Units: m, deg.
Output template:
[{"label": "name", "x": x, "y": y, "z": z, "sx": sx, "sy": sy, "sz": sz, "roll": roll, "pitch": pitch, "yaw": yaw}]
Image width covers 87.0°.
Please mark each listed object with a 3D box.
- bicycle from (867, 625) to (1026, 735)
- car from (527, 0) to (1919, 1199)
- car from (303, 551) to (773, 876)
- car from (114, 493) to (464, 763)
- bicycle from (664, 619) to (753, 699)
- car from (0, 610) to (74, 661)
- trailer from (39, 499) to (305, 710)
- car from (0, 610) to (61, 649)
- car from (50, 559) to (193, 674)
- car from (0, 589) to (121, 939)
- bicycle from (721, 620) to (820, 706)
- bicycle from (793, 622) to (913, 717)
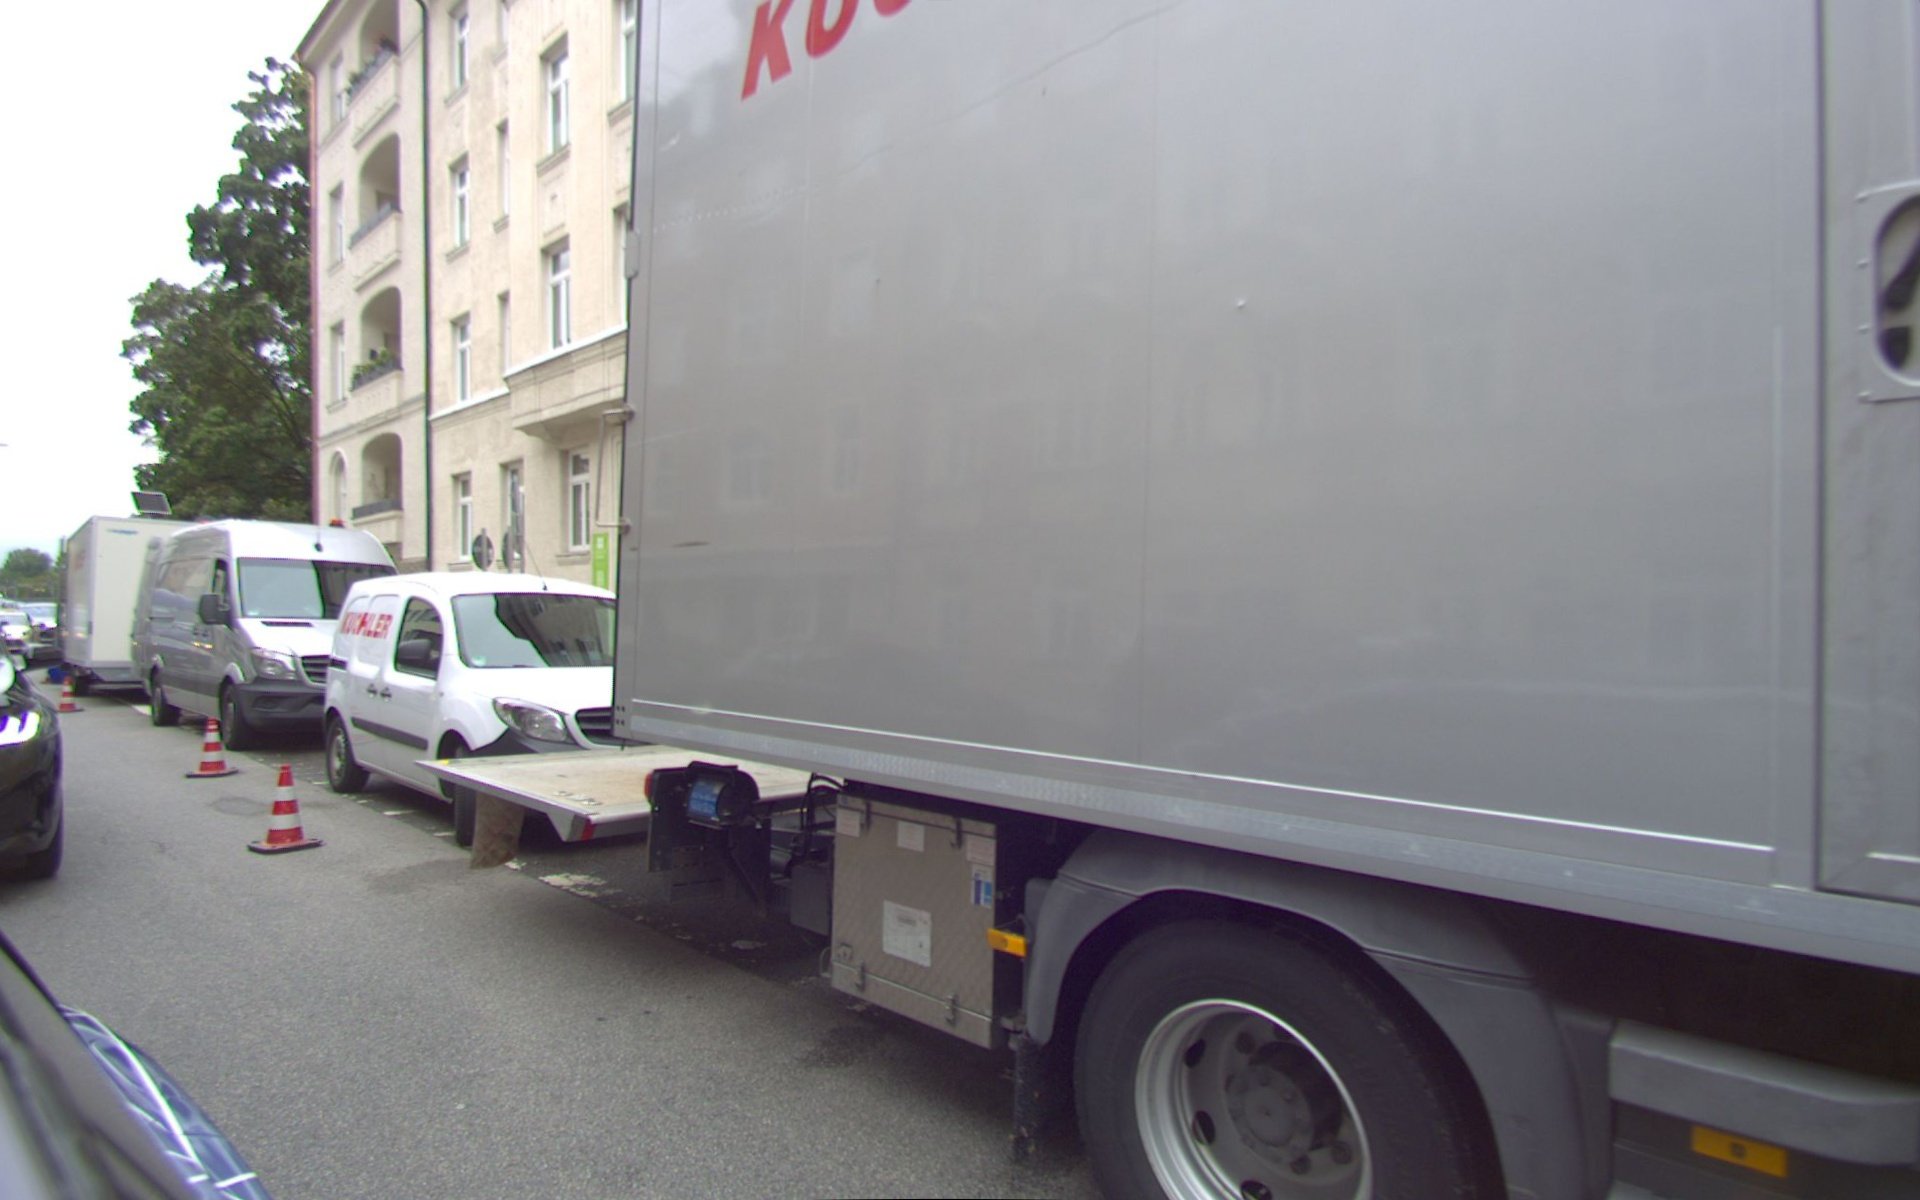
[{"label": "bicycle", "x": -0.177, "y": 0.847, "z": 11.181, "sx": 1.859, "sy": 1.112, "sz": 0.397, "roll": 0, "pitch": 0, "yaw": 34}, {"label": "car", "x": 2.486, "y": -0.518, "z": 1.856, "sx": 8.723, "sy": 3.846, "sz": 2.782, "roll": -1, "pitch": -1, "yaw": 43}, {"label": "car", "x": -3.425, "y": 0.670, "z": 7.734, "sx": 4.328, "sy": 1.792, "sz": 1.743, "roll": -1, "pitch": -2, "yaw": 44}, {"label": "car", "x": -8.795, "y": 0.375, "z": 12.867, "sx": 6.877, "sy": 2.607, "sz": 2.033, "roll": -1, "pitch": -5, "yaw": 43}, {"label": "bicycle", "x": -3.796, "y": 0.855, "z": 15.182, "sx": 1.743, "sy": 1.112, "sz": 0.423, "roll": 0, "pitch": 0, "yaw": 44}, {"label": "car", "x": -33.183, "y": 1.246, "z": 36.293, "sx": 1.792, "sy": 1.601, "sz": 4.167, "roll": 6, "pitch": -4, "yaw": -44}, {"label": "trailer", "x": -14.251, "y": 0.228, "z": 18.019, "sx": 2.771, "sy": 2.992, "sz": 7.604, "roll": 4, "pitch": -4, "yaw": -44}, {"label": "car", "x": -39.699, "y": 1.224, "z": 43.191, "sx": 1.791, "sy": 1.474, "sz": 4.170, "roll": 6, "pitch": -4, "yaw": -41}, {"label": "car", "x": -21.701, "y": 0.417, "z": 26.063, "sx": 6.796, "sy": 2.592, "sz": 2.117, "roll": -1, "pitch": -1, "yaw": 44}, {"label": "car", "x": -6.309, "y": 0.727, "z": 5.529, "sx": 4.290, "sy": 1.577, "sz": 1.897, "roll": 0, "pitch": -1, "yaw": 40}, {"label": "bicycle", "x": -2.670, "y": 0.850, "z": 14.135, "sx": 1.736, "sy": 1.112, "sz": 0.423, "roll": 0, "pitch": 0, "yaw": 44}, {"label": "bicycle", "x": -1.392, "y": 0.851, "z": 12.941, "sx": 1.864, "sy": 1.112, "sz": 0.396, "roll": 0, "pitch": 0, "yaw": 43}]
